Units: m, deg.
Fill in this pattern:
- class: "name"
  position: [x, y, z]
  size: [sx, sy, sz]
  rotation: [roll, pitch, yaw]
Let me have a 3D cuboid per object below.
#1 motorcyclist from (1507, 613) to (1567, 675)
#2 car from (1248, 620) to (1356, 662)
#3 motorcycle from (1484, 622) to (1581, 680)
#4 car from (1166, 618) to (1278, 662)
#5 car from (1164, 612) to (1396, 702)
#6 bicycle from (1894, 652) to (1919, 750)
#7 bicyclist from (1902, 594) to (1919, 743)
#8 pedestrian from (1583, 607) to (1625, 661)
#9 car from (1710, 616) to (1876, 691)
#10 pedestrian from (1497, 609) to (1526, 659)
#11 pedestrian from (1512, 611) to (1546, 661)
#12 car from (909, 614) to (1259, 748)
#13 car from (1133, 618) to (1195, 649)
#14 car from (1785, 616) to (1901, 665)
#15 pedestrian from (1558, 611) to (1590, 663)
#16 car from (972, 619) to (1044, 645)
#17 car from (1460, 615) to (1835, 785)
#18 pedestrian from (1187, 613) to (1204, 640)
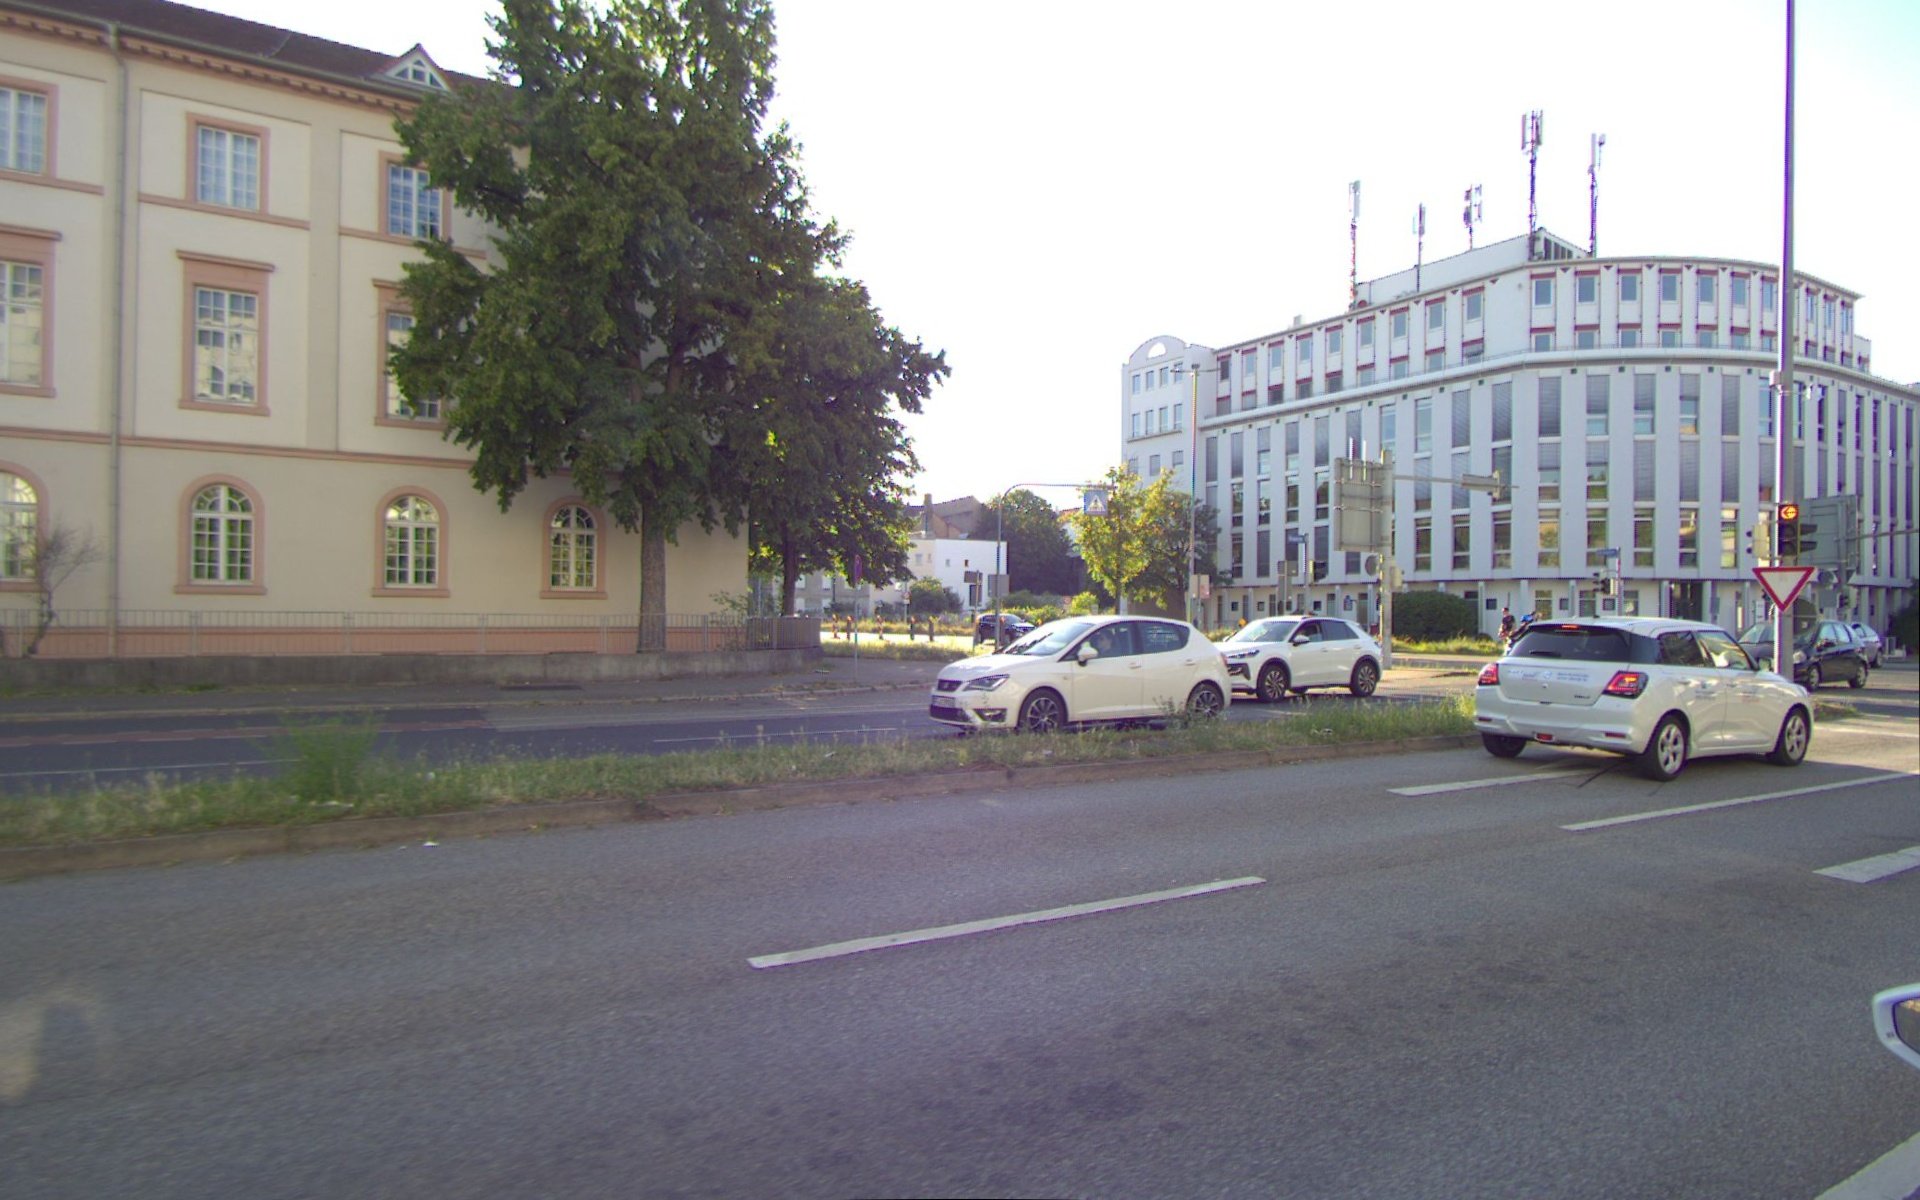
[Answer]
- class: "motorcyclist"
  position: [13.734, 1.045, 23.919]
  size: [1.224, 1.438, 0.766]
  rotation: [1, -1, -32]
- class: "car"
  position: [13.590, 1.636, 40.127]
  size: [1.843, 1.550, 3.788]
  rotation: [3, -4, -32]
- class: "motorcycle"
  position: [13.627, 1.194, 23.868]
  size: [2.811, 1.301, 0.766]
  rotation: [1, -1, -32]
- class: "car"
  position: [10.254, 1.532, 39.612]
  size: [1.973, 1.650, 4.333]
  rotation: [1, -1, -25]
- class: "car"
  position: [6.070, 1.007, 18.888]
  size: [4.463, 1.518, 1.676]
  rotation: [1, -1, -32]
- class: "bicycle"
  position: [12.077, 1.188, 12.095]
  size: [2.233, 1.114, 0.696]
  rotation: [1, -1, -33]
- class: "bicyclist"
  position: [11.838, 0.814, 11.960]
  size: [0.977, 1.750, 0.687]
  rotation: [1, -1, -33]
- class: "pedestrian"
  position: [23.006, 1.203, 35.894]
  size: [1.105, 1.893, 0.628]
  rotation: [1, -1, -2]
- class: "car"
  position: [18.363, 1.125, 22.104]
  size: [3.955, 1.514, 1.649]
  rotation: [1, -1, -31]
- class: "pedestrian"
  position: [21.108, 1.290, 38.485]
  size: [0.763, 1.883, 0.662]
  rotation: [0, -1, 3]
- class: "pedestrian"
  position: [21.318, 1.338, 37.648]
  size: [0.805, 1.866, 0.759]
  rotation: [1, -1, -15]
- class: "car"
  position: [1.586, 0.895, 12.353]
  size: [4.132, 1.411, 1.677]
  rotation: [1, -1, -30]
- class: "car"
  position: [13.476, 2.195, 66.237]
  size: [3.796, 1.756, 1.776]
  rotation: [0, -9, 19]
- class: "car"
  position: [29.059, 1.310, 33.031]
  size: [4.297, 1.514, 1.649]
  rotation: [1, -1, -31]
- class: "pedestrian"
  position: [22.543, 1.345, 36.864]
  size: [0.764, 1.893, 0.661]
  rotation: [1, -1, -7]
- class: "car"
  position: [2.612, 1.731, 55.278]
  size: [1.812, 1.372, 3.955]
  rotation: [1, -1, -39]
- class: "car"
  position: [7.250, 0.915, 10.525]
  size: [3.951, 1.476, 1.677]
  rotation: [1, 0, -29]
- class: "pedestrian"
  position: [16.162, 1.820, 68.843]
  size: [0.901, 1.816, 0.671]
  rotation: [0, -1, 43]
